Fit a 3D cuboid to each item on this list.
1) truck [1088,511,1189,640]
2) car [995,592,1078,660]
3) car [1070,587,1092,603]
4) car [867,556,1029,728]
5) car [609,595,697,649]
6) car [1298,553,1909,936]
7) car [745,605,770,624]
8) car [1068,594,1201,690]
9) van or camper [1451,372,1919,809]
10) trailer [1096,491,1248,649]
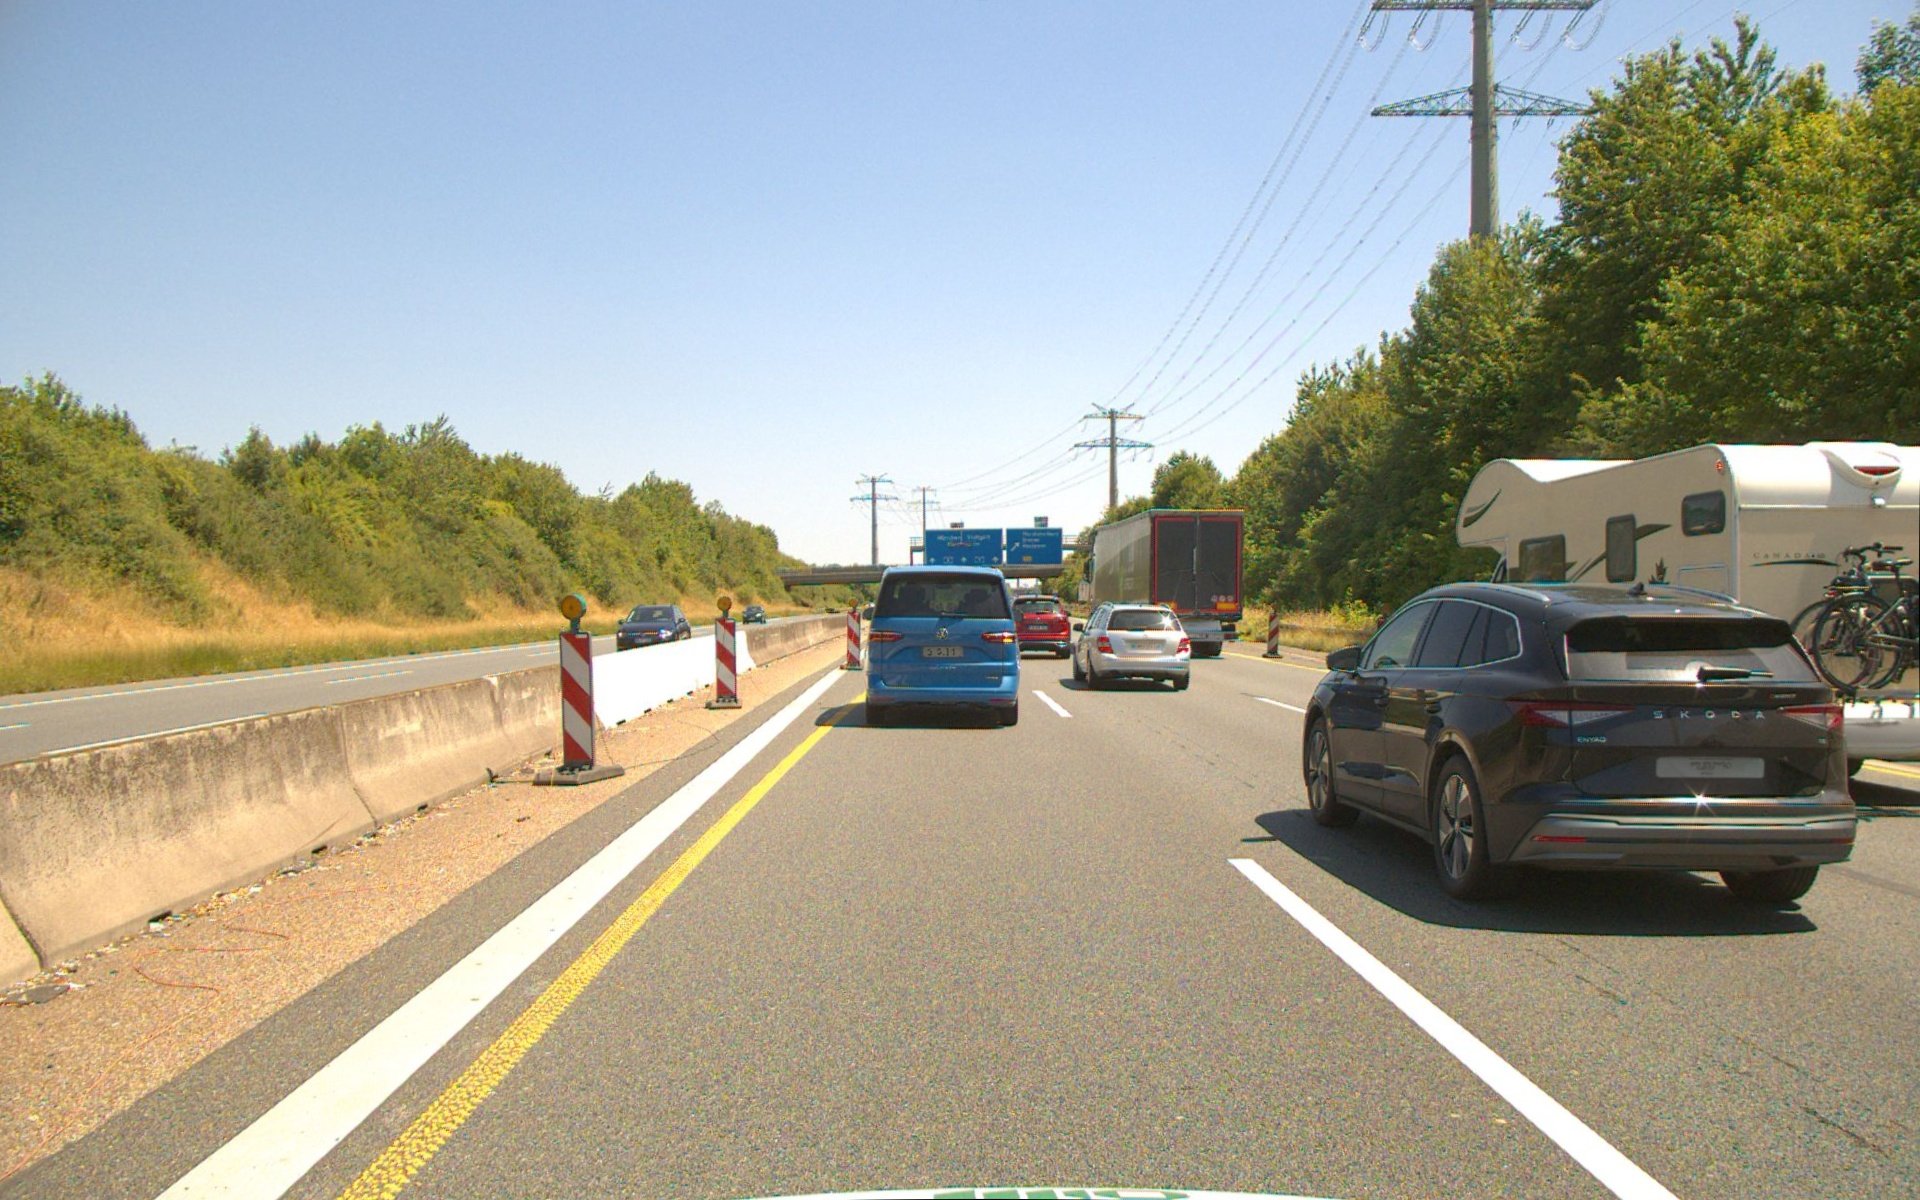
[{"bbox_3d":[6.036,-0.788,56.604,2.677,4.118,5.792,1,0,-1],"label":"truck"},{"bbox_3d":[1.984,0.663,44.324,1.837,1.700,4.358,1,0,-2],"label":"car"},{"bbox_3d":[13.421,-0.547,183.592,1.837,1.700,4.358,1,0,-2],"label":"car"},{"bbox_3d":[-0.215,0.497,21.262,1.837,1.945,4.358,1,0,-2],"label":"car"},{"bbox_3d":[-9.171,0.633,49.697,1.824,1.516,4.492,-1,0,-1],"label":"car"},{"bbox_3d":[3.340,0.657,9.617,1.667,1.684,4.427,1,0,-2],"label":"car"},{"bbox_3d":[-16.689,1.187,136.290,1.674,1.490,3.848,-2,0,-2],"label":"car"},{"bbox_3d":[3.044,0.703,29.617,1.735,1.544,4.358,1,0,-2],"label":"car"},{"bbox_3d":[7.004,-0.041,15.604,2.321,3.097,7.631,1,0,-1],"label":"van or camper"},{"bbox_3d":[6.123,-0.763,50.146,2.726,4.118,13.109,1,0,-1],"label":"trailer"}]
